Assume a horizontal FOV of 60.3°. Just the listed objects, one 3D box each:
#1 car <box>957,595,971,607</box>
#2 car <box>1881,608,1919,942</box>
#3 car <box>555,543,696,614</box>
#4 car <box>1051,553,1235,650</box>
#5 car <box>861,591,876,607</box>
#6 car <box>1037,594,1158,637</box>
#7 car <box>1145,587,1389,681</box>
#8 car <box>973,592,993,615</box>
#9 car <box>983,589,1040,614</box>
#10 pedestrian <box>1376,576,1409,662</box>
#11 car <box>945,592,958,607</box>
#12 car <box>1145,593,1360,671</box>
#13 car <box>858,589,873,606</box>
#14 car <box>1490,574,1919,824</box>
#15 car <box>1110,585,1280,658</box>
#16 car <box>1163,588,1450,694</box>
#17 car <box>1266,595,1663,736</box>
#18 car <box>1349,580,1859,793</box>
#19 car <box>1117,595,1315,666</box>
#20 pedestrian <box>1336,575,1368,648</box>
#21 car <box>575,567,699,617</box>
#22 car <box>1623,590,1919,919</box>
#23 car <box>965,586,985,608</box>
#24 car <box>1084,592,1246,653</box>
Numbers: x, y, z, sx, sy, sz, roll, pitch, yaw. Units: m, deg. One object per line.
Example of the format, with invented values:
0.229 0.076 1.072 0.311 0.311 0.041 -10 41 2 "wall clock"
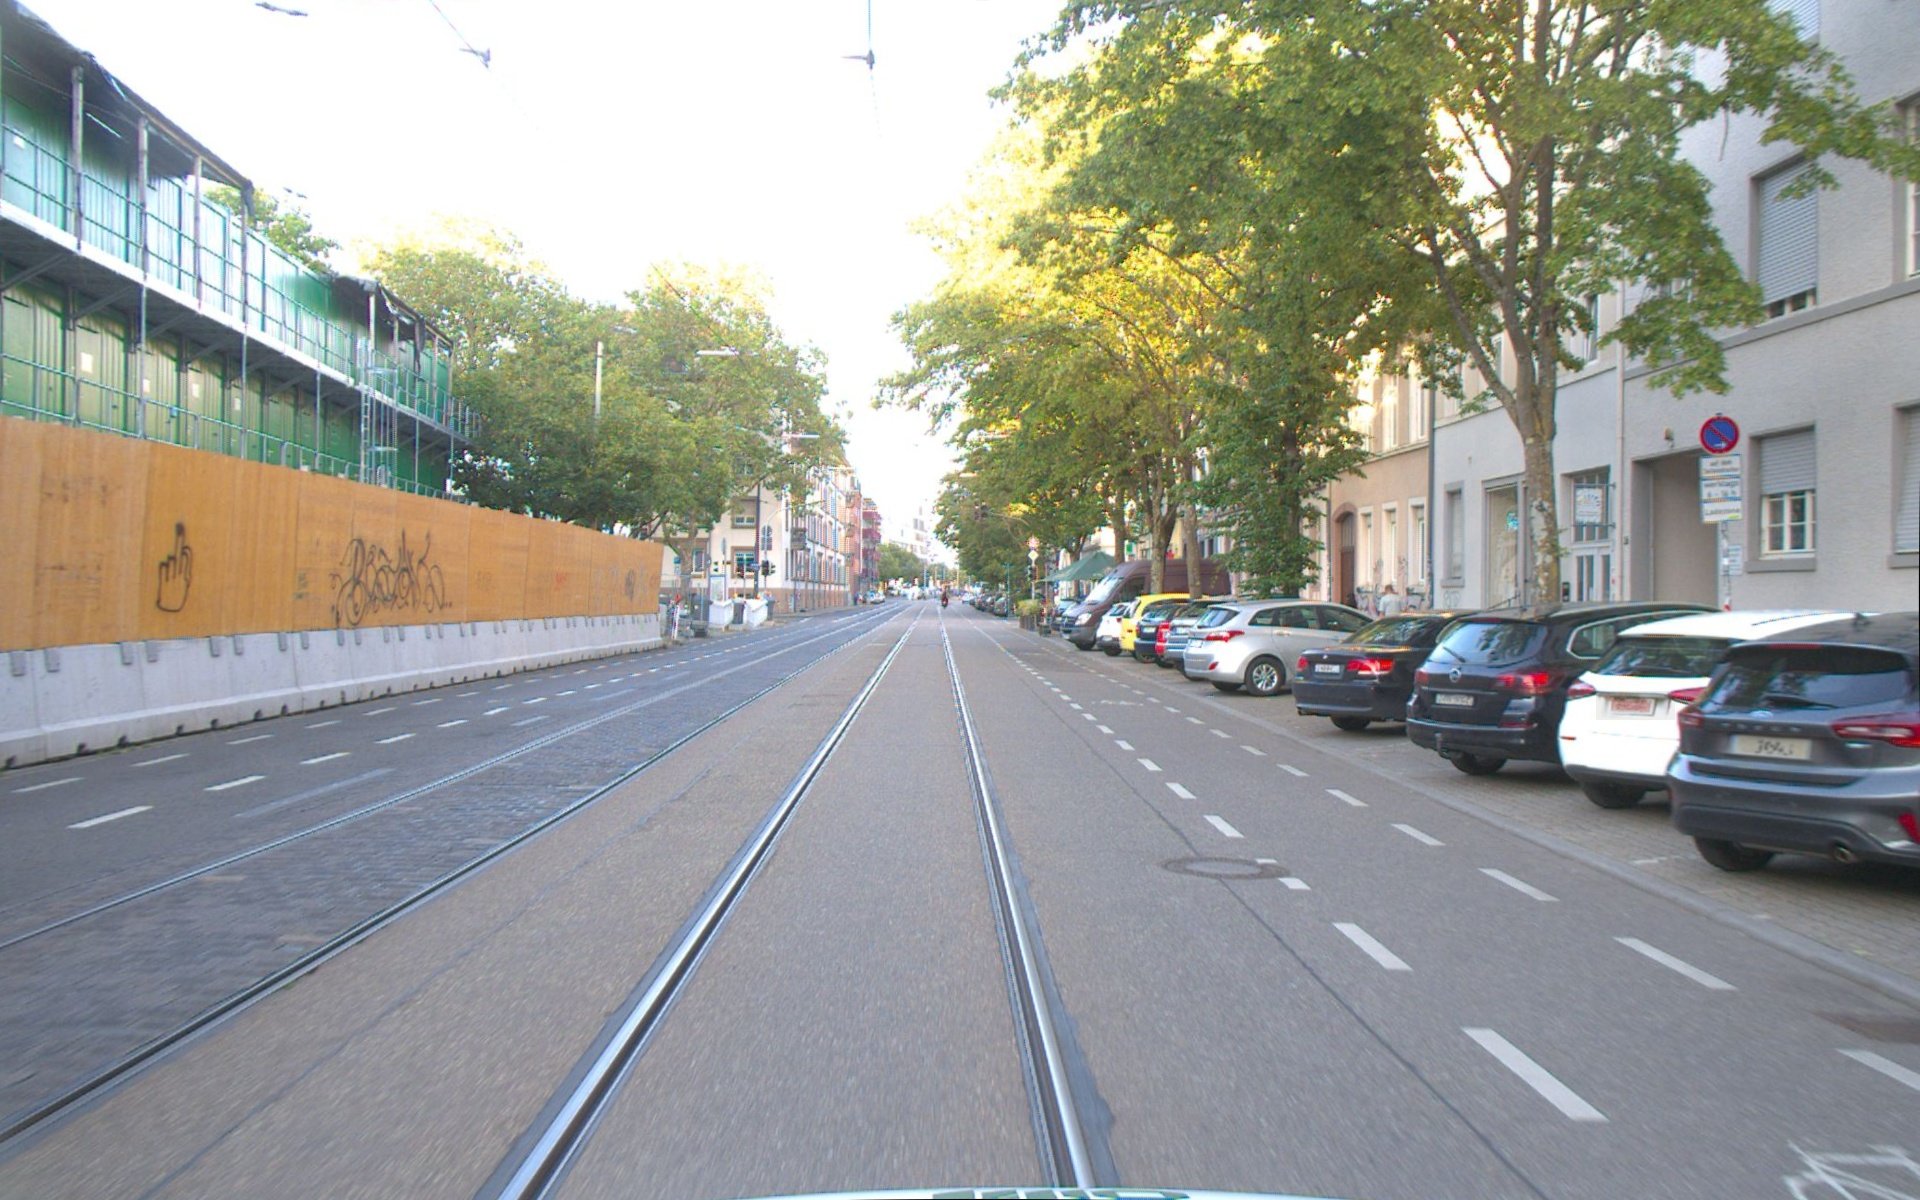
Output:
0.578 0.124 247.271 1.923 1.748 3.999 1 0 -1 "car"
6.389 0.701 7.226 3.887 1.496 1.992 -3 1 -17 "car"
-13.655 -0.882 67.802 5.293 2.603 2.225 3 0 -4 "car"
5.419 0.025 49.159 5.016 2.689 2.011 -2 0 -18 "car"
-12.484 -0.161 226.768 1.859 2.049 3.999 1 0 -1 "car"
5.182 0.581 62.319 4.123 1.525 1.992 -1 0 -26 "car"
5.790 0.612 31.211 4.195 1.588 1.884 -1 0 -24 "car"
2.050 0.332 149.967 1.686 2.049 3.999 1 0 -1 "car"
3.462 0.077 111.609 3.808 1.620 1.861 1 0 0 "car"
9.385 0.413 35.887 0.554 1.846 0.606 0 0 -2 "pedestrian"
-1.221 -0.065 236.261 1.859 2.049 3.999 1 0 -1 "car"
6.036 0.642 34.105 4.071 1.450 1.882 -1 0 -27 "car"
-12.656 -0.398 221.209 1.859 2.216 3.999 1 0 -1 "car"
6.309 0.629 12.614 4.065 1.496 1.971 -3 1 -26 "car"
5.737 0.522 40.740 3.870 1.648 1.920 -1 0 -1 "car"
5.653 0.639 27.226 4.175 1.576 2.014 -1 0 -12 "car"
5.901 0.703 19.356 4.196 1.416 2.000 -1 0 -25 "car"
5.749 0.676 14.774 4.065 1.496 1.999 -3 1 -26 "car"
5.777 0.671 37.279 4.071 1.450 1.904 -1 0 -27 "car"
8.614 0.247 36.396 0.527 1.595 0.813 0 0 1 "pedestrian"
-14.354 -0.358 73.620 4.921 1.978 2.228 3 1 3 "car"
6.071 0.705 9.675 4.066 1.496 1.808 -3 1 -26 "car"
1.417 -0.283 156.663 1.768 2.049 3.999 1 0 -1 "car"
5.512 0.605 44.500 3.900 1.512 1.906 -1 -1 -25 "car"
